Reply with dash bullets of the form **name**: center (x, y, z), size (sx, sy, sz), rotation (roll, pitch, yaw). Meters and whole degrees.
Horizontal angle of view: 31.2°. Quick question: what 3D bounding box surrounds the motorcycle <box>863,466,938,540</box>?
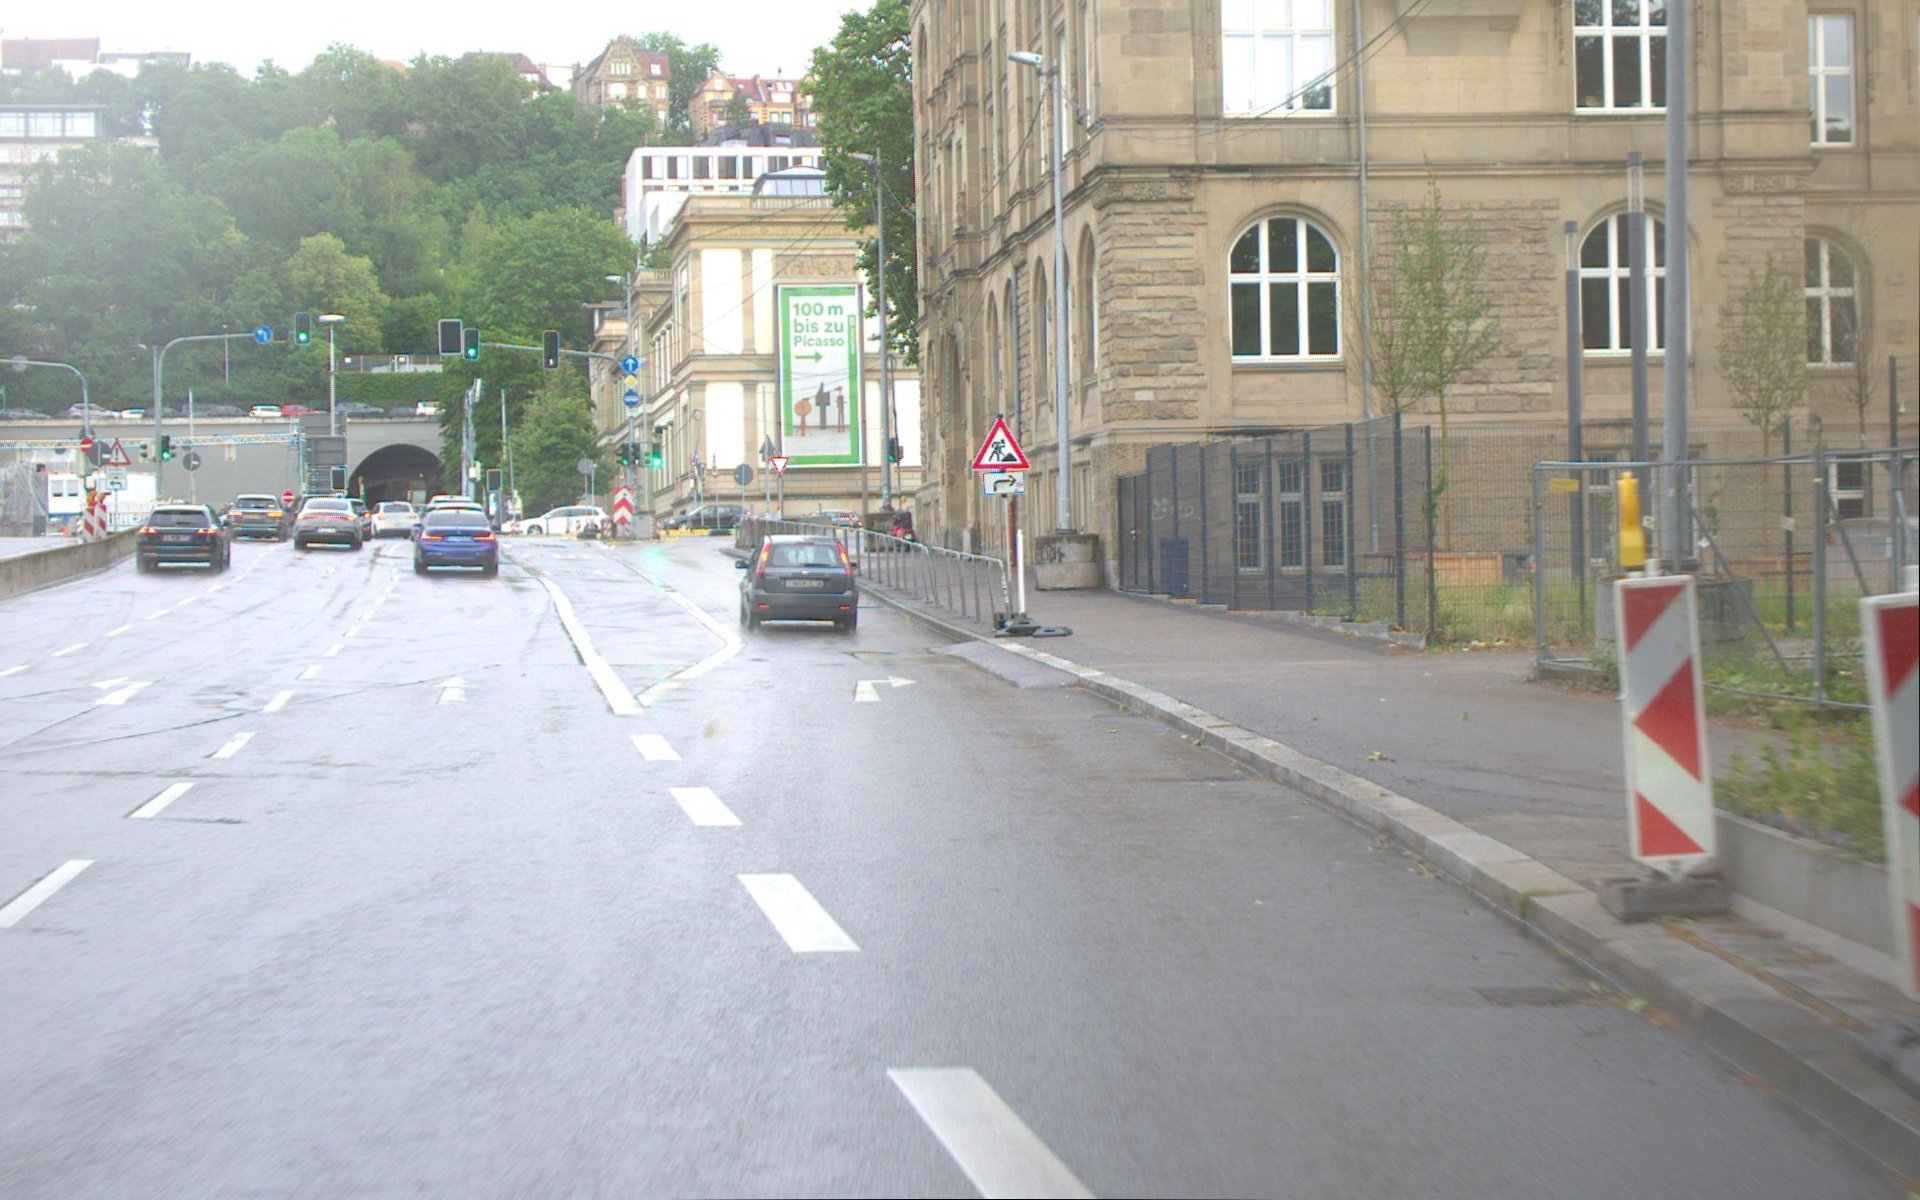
- **motorcycle**: center (-1.685, -2.738, 96.306), size (1.795, 2.006, 3.814), rotation (-1, 2, -5)

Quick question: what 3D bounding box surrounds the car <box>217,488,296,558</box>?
- **car**: center (-21.948, -2.381, 107.414), size (1.993, 2.007, 4.001), rotation (-2, 0, -6)

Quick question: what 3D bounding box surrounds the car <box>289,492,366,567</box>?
- **car**: center (-18.085, -1.996, 98.407), size (2.051, 2.007, 4.001), rotation (-2, 0, -10)

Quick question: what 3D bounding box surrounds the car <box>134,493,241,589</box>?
- **car**: center (-17.317, -1.301, 77.197), size (2.016, 2.007, 4.001), rotation (-2, 0, -9)

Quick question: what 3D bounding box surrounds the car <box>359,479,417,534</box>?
- **car**: center (-22.141, -3.604, 132.972), size (1.993, 2.007, 4.001), rotation (-2, 1, -12)

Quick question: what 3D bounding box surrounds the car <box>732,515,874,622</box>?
- **car**: center (-2.443, -0.460, 52.684), size (1.812, 1.521, 4.001), rotation (-2, 0, -7)

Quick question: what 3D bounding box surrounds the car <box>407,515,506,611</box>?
- **car**: center (-11.405, -0.820, 77.834), size (2.104, 2.043, 4.001), rotation (-2, 0, -9)
